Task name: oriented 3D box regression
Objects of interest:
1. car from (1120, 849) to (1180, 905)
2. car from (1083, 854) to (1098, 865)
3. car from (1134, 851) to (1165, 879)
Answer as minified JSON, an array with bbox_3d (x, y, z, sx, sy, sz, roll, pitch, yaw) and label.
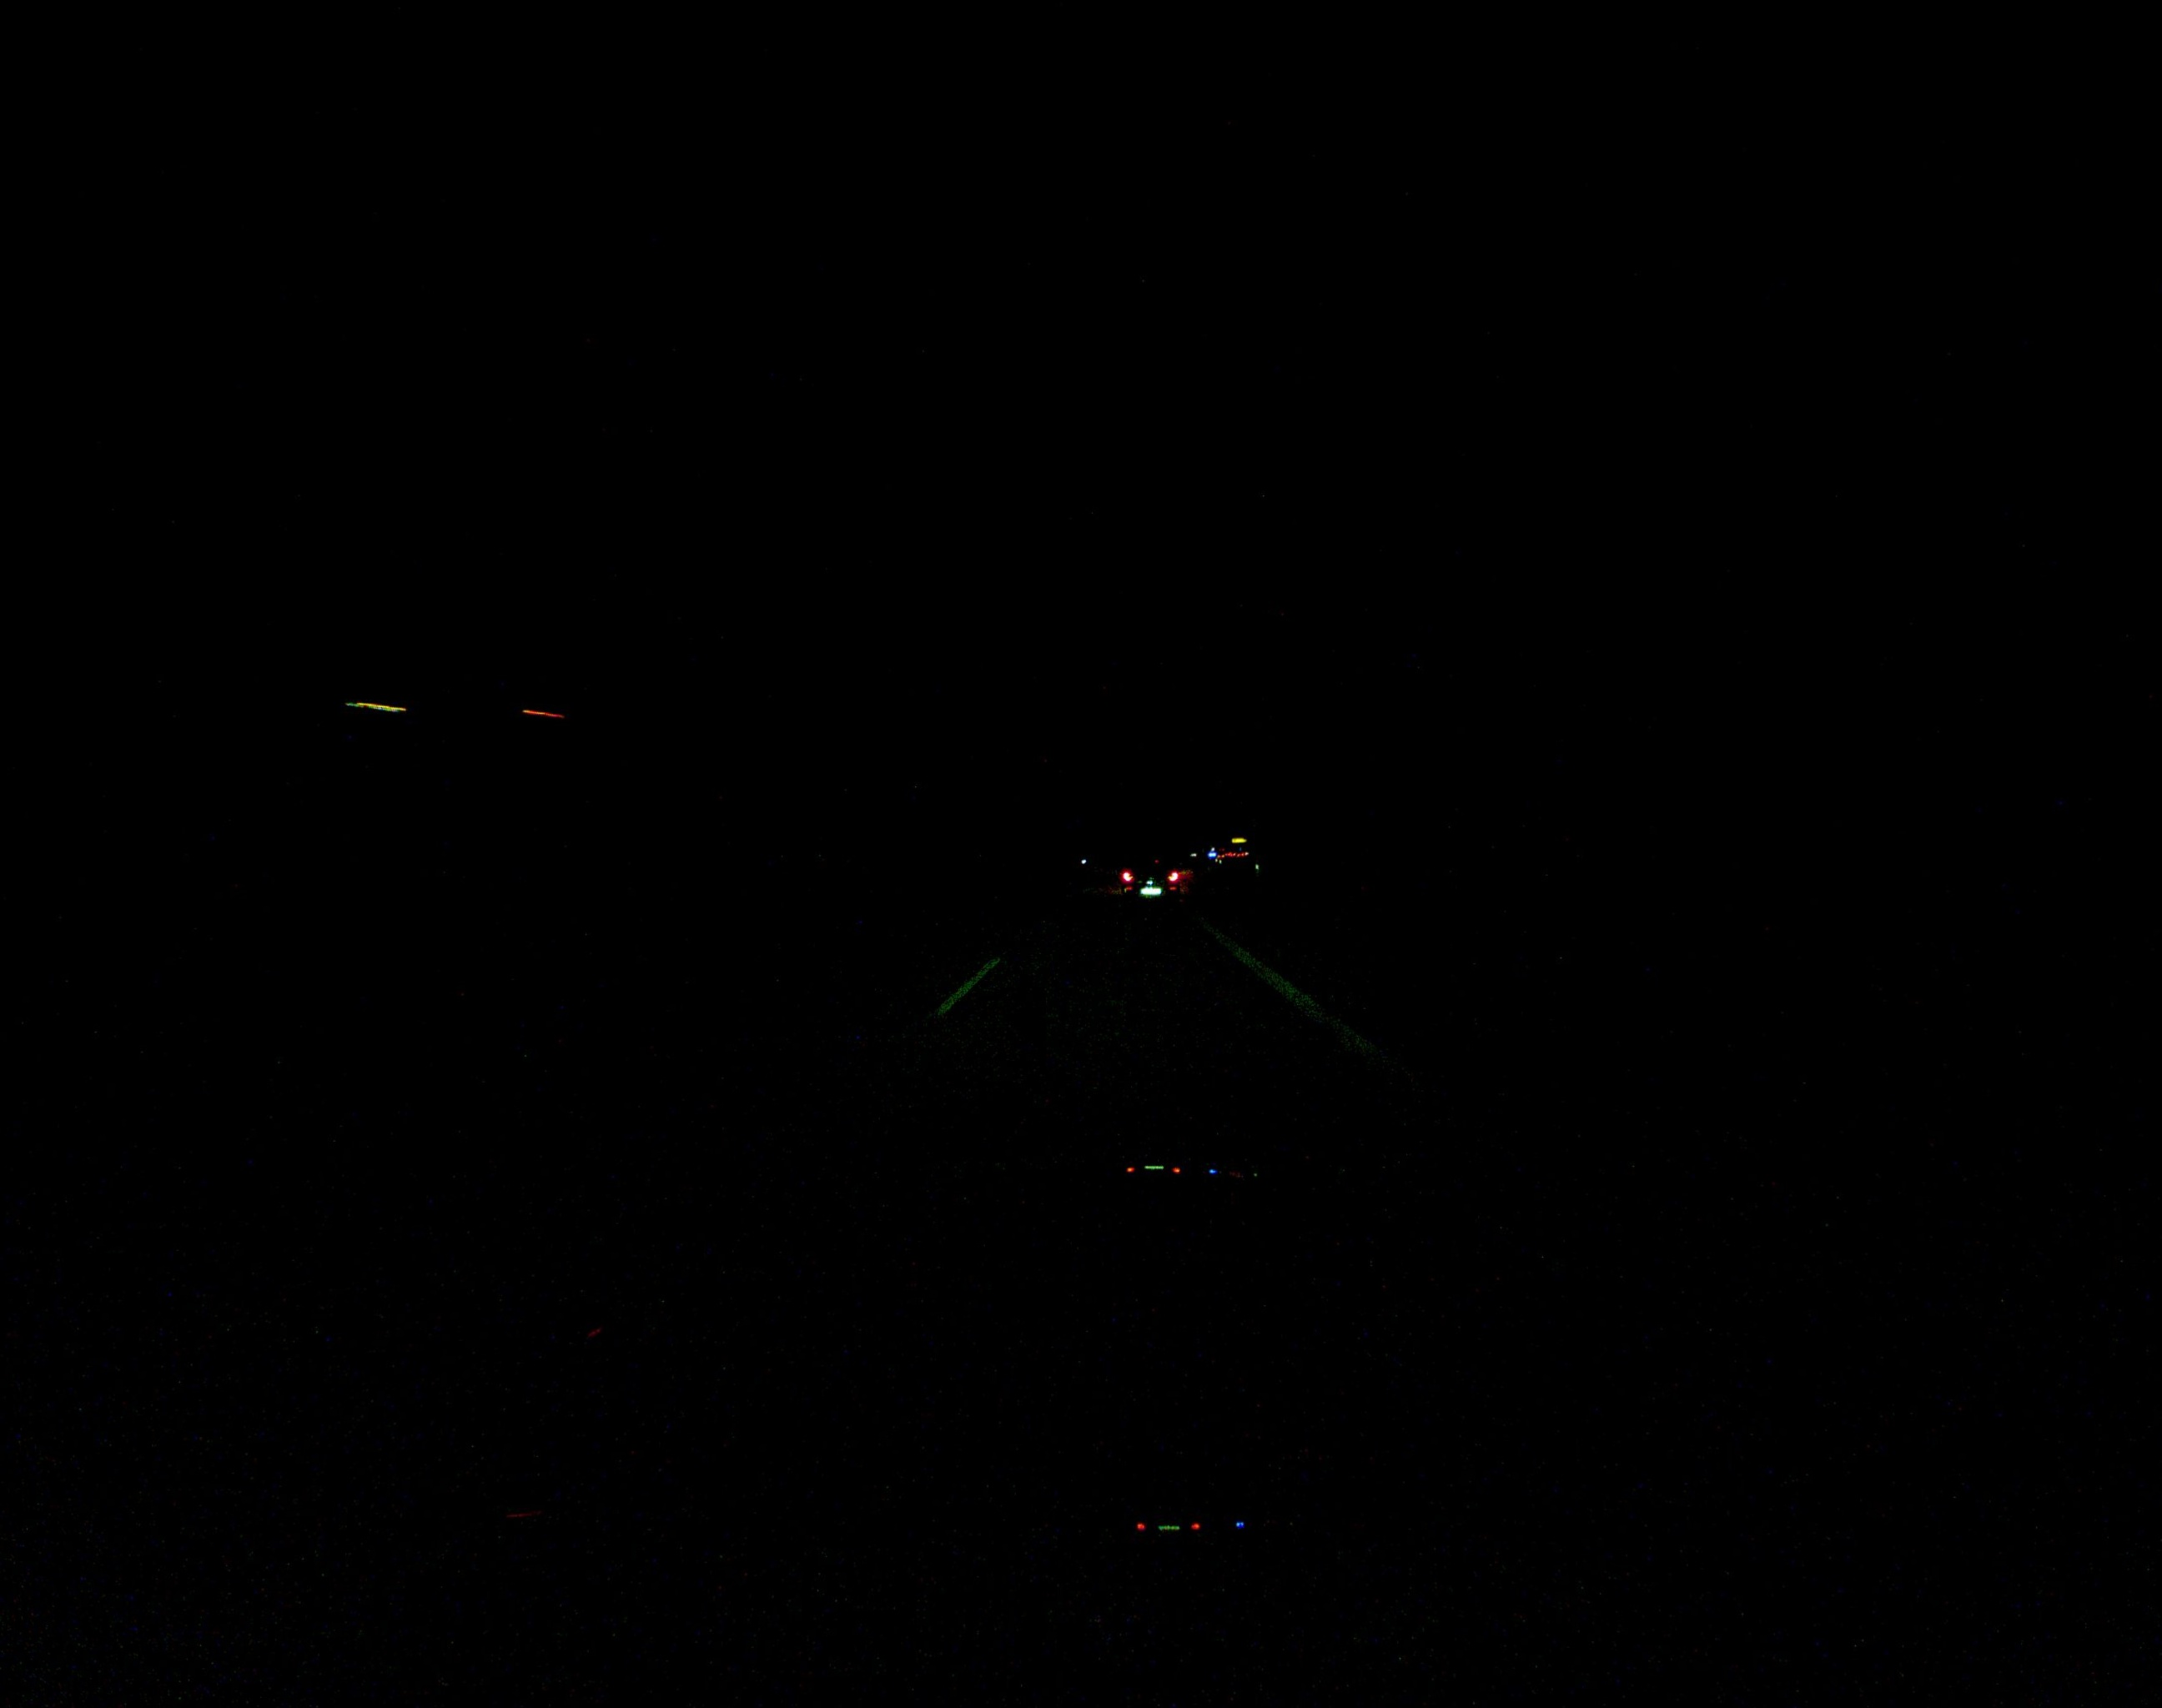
[{"bbox_3d":[1.960,0.621,23.980,1.582,1.508,4.002,0,0,2],"label":"car"},{"bbox_3d":[1.526,0.871,128.904,1.984,1.657,4.540,-2,-1,5],"label":"car"},{"bbox_3d":[4.382,0.672,52.692,1.898,1.698,4.004,-1,0,3],"label":"car"}]
